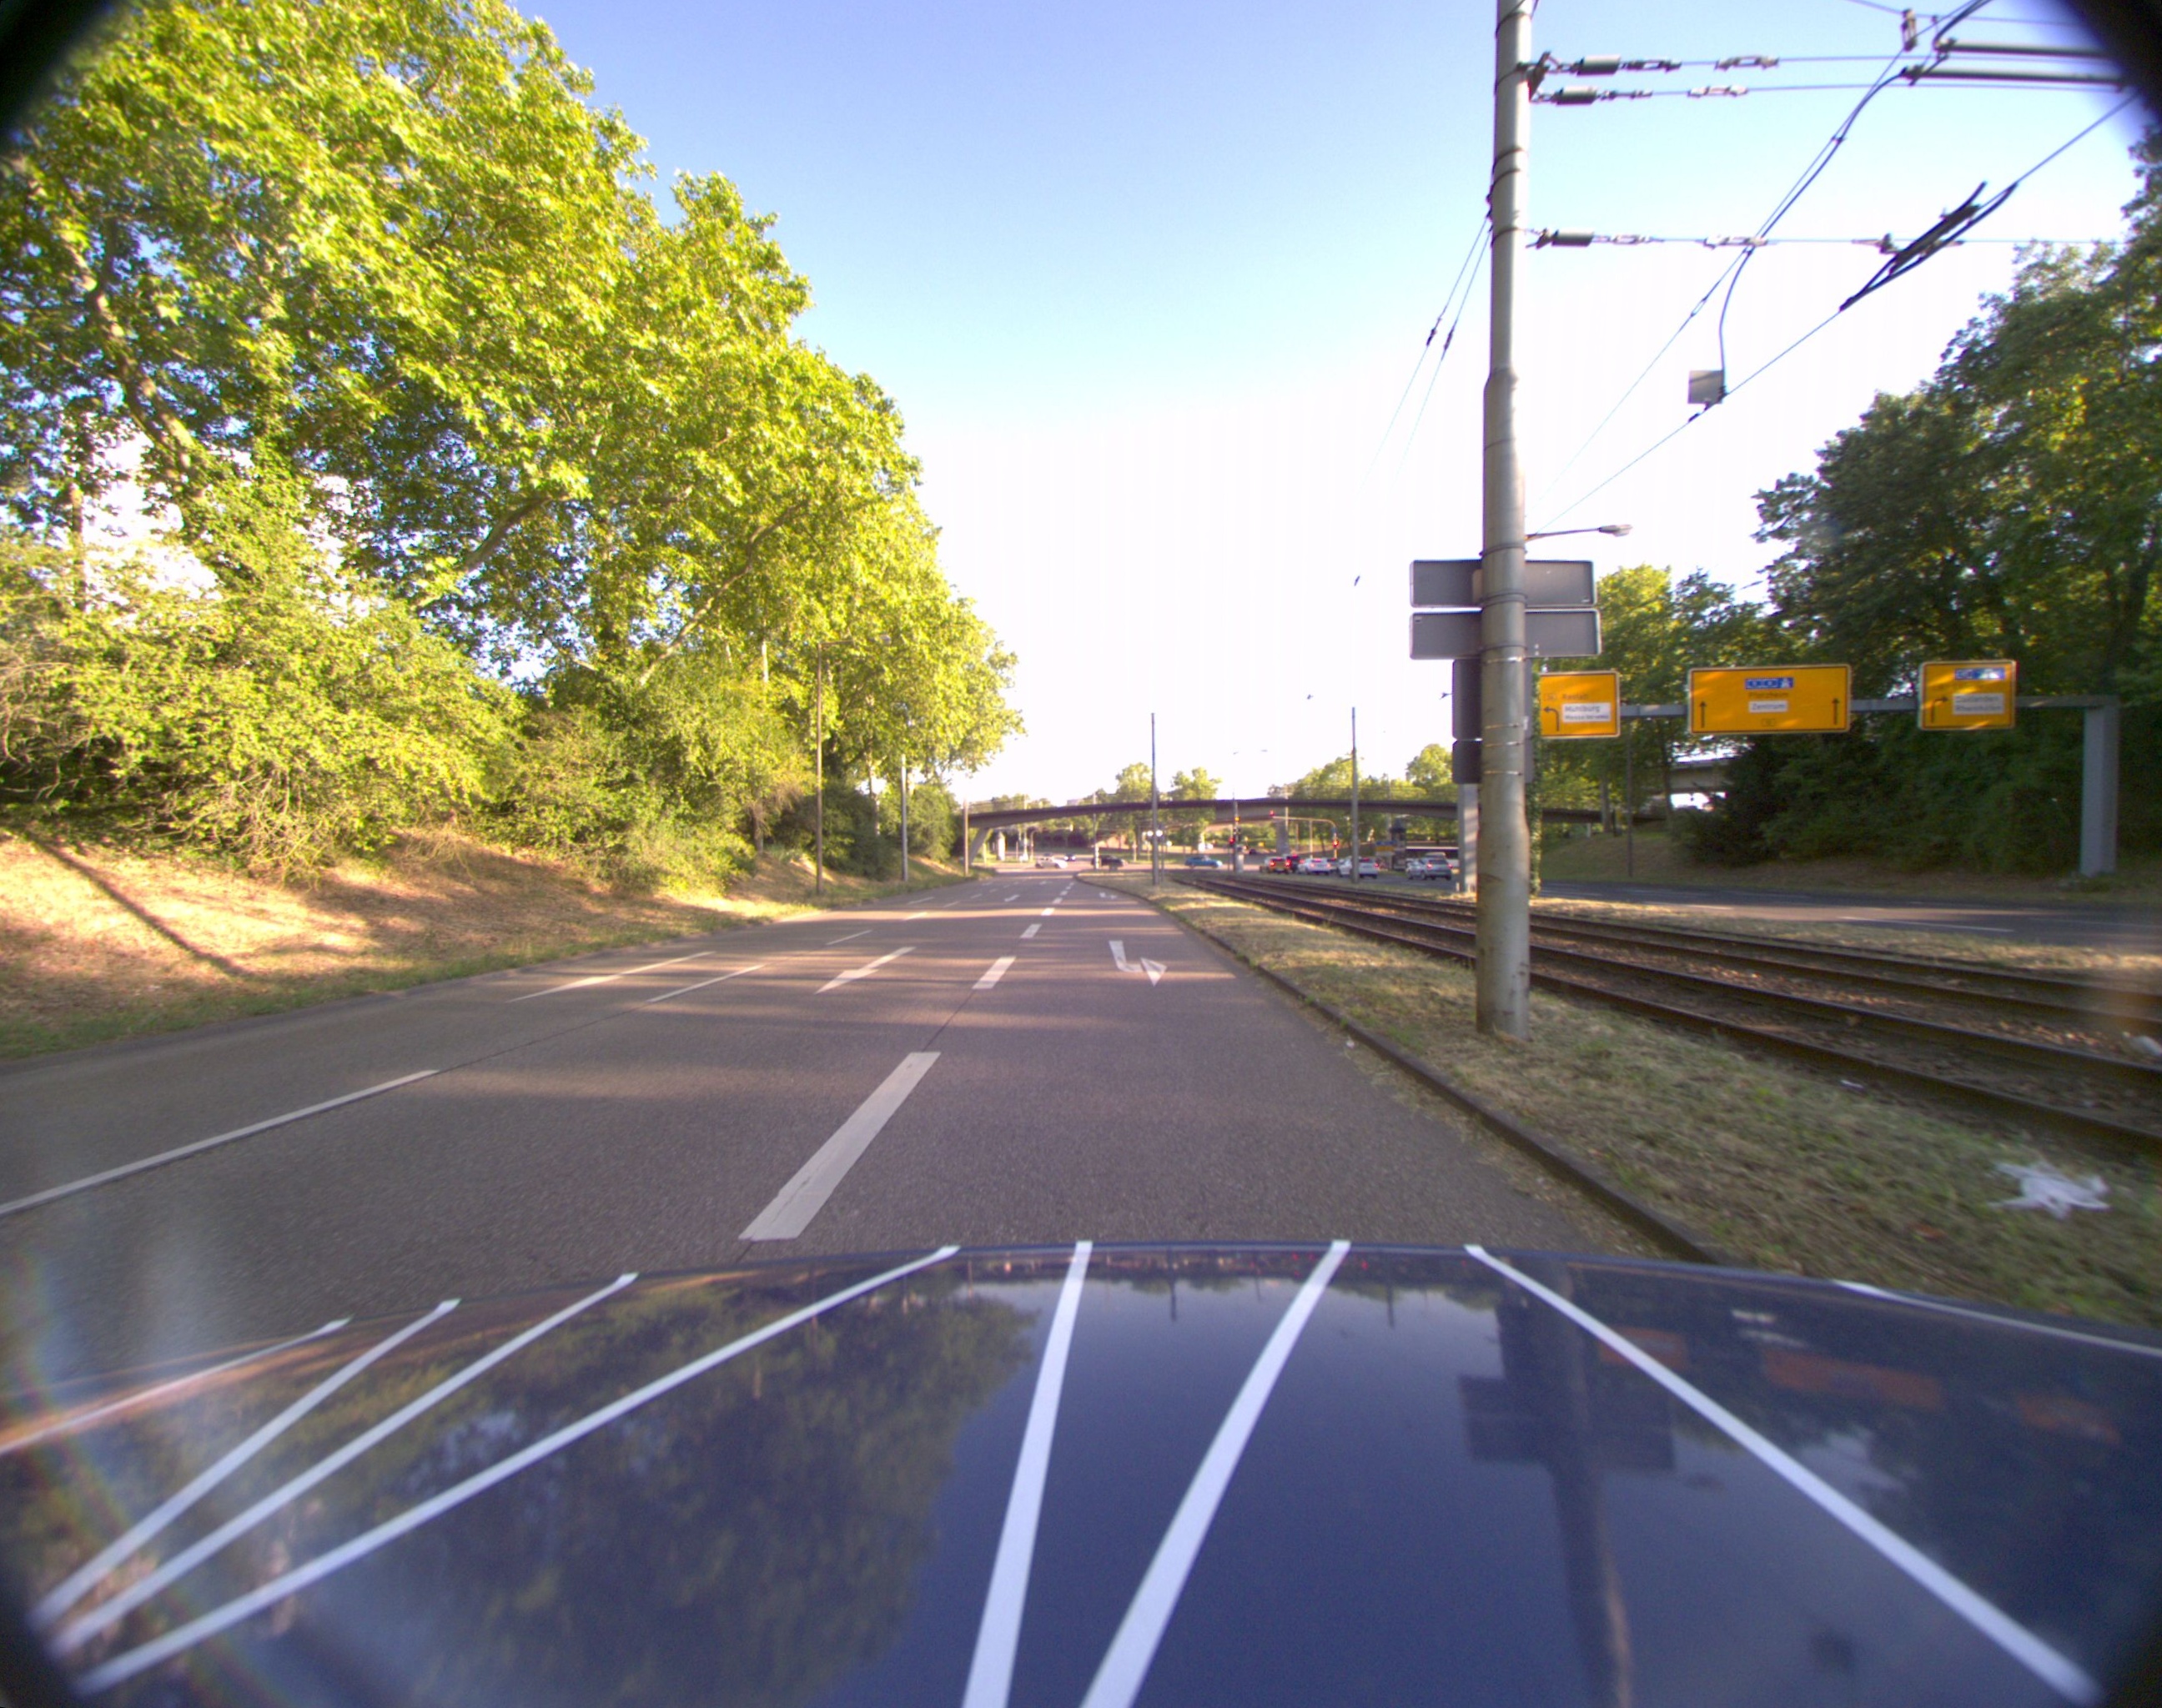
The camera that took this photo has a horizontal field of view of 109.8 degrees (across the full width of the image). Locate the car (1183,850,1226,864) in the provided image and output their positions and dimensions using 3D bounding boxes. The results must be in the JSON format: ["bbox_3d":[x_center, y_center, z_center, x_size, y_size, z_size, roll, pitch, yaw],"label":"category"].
[{"bbox_3d":[14.962,0.384,92.024,4.799,1.563,1.941,-2,0,17],"label":"car"}]

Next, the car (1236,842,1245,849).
[{"bbox_3d":[38.340,-1.984,182.985,1.832,1.609,3.983,-2,1,7],"label":"car"}]

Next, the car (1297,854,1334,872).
[{"bbox_3d":[19.718,0.772,64.068,1.918,1.416,4.227,-1,0,1],"label":"car"}]

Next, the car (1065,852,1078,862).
[{"bbox_3d":[-1.768,0.464,139.091,1.905,1.726,3.998,-2,0,-5],"label":"car"}]

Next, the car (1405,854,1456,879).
[{"bbox_3d":[22.994,0.797,50.137,1.812,1.535,4.002,-1,0,6],"label":"car"}]

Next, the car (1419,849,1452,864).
[{"bbox_3d":[46.879,0.317,100.593,3.805,1.848,1.679,-2,1,20],"label":"car"}]

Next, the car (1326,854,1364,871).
[{"bbox_3d":[23.464,0.714,67.773,1.868,1.416,4.226,-1,0,0],"label":"car"}]

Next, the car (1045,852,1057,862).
[{"bbox_3d":[-5.403,0.507,136.403,1.960,1.779,3.998,-2,0,-5],"label":"car"}]

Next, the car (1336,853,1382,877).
[{"bbox_3d":[19.558,0.755,53.669,1.767,1.535,4.000,-1,0,0],"label":"car"}]

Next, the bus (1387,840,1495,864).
[{"bbox_3d":[49.308,-0.235,104.555,13.162,2.846,2.421,-2,1,24],"label":"bus"}]

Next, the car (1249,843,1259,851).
[{"bbox_3d":[38.596,-1.625,169.714,1.832,1.609,3.983,-2,1,7],"label":"car"}]

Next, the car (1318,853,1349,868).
[{"bbox_3d":[24.622,0.637,74.107,1.917,1.416,4.228,-1,0,5],"label":"car"}]

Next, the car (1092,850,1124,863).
[{"bbox_3d":[3.522,0.354,99.420,4.008,1.485,1.697,-2,1,8],"label":"car"}]

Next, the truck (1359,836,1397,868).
[{"bbox_3d":[28.096,-0.177,72.111,2.281,2.862,6.887,-1,0,13],"label":"truck"}]

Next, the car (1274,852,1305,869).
[{"bbox_3d":[19.716,0.578,71.999,1.918,1.540,4.228,-1,0,3],"label":"car"}]

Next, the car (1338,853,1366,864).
[{"bbox_3d":[39.059,0.672,109.388,3.647,1.503,1.665,-2,1,21],"label":"car"}]

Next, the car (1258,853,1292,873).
[{"bbox_3d":[15.892,0.726,62.504,1.767,1.535,4.000,-1,0,0],"label":"car"}]

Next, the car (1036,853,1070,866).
[{"bbox_3d":[-3.545,0.732,97.243,4.022,1.485,1.625,-2,1,16],"label":"car"}]
